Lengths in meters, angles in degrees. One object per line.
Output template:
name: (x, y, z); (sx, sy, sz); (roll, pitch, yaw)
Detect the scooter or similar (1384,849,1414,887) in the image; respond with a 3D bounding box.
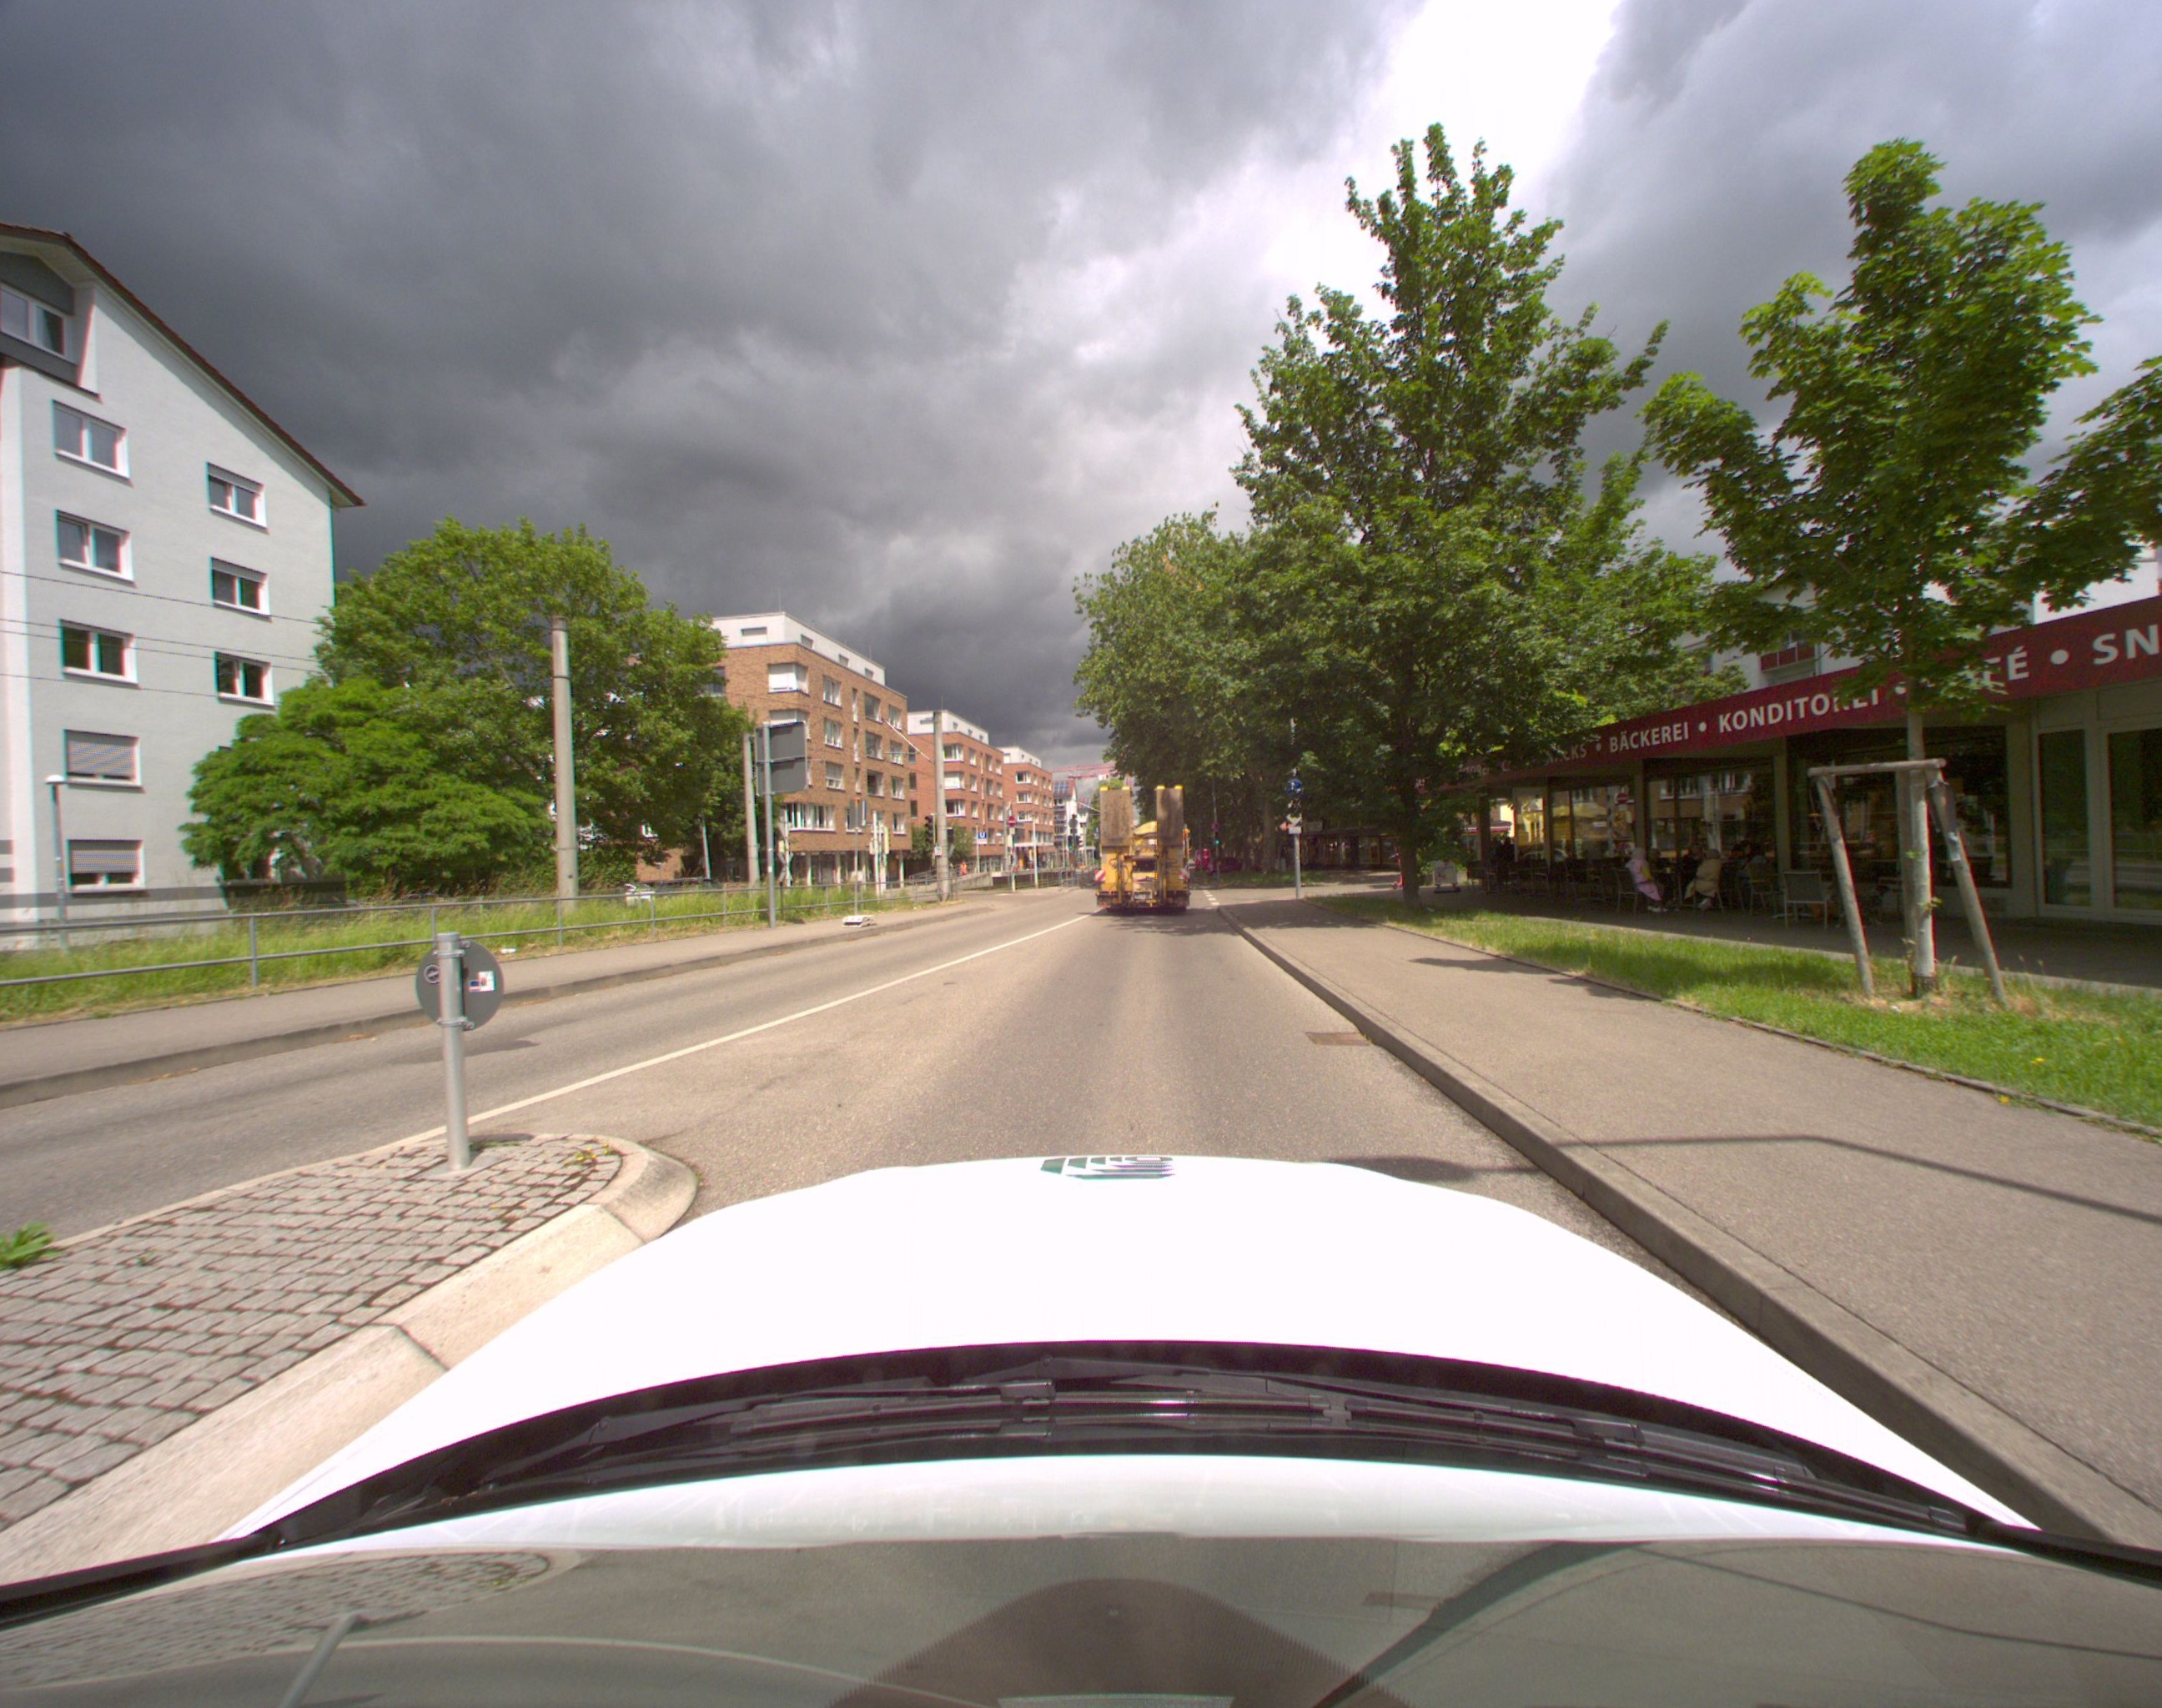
scooter or similar: (11.349, 0.487, 29.053); (0.513, 1.226, 1.743); (-2, 1, 37)

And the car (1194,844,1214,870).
car: (14.274, 0.326, 94.309); (1.981, 2.827, 5.130); (2, 1, 11)

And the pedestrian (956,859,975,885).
pedestrian: (-9.247, 1.398, 65.016); (1.129, 2.013, 1.002); (-3, -1, 13)

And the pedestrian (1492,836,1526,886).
pedestrian: (13.236, 0.207, 25.198); (0.694, 1.488, 0.557); (-2, -1, 1)

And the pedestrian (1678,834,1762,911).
pedestrian: (11.637, 0.322, 14.847); (0.875, 1.324, 0.822); (-3, 2, -3)

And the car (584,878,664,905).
car: (-24.809, 2.018, 44.279); (3.319, 1.235, 1.624); (-2, 2, 2)

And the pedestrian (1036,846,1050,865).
pedestrian: (-4.031, 0.145, 85.627); (1.129, 2.013, 1.002); (-3, -1, 13)

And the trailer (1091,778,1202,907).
trailer: (2.402, -0.253, 27.245); (2.848, 3.372, 10.861); (-2, -1, 7)

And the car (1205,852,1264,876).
car: (10.722, 0.678, 56.957); (3.963, 1.511, 2.006); (-1, 2, 9)

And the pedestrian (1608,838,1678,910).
pedestrian: (10.847, 0.379, 15.744); (0.873, 1.325, 0.612); (-3, -1, 6)

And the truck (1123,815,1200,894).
truck: (3.705, 0.047, 36.847); (2.972, 3.035, 8.501); (-3, 0, 6)

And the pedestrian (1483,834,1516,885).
pedestrian: (13.260, 0.182, 25.808); (0.694, 1.573, 0.557); (-2, -1, 1)

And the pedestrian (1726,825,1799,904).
pedestrian: (12.483, 0.186, 14.942); (0.714, 1.380, 0.700); (-3, -1, 4)

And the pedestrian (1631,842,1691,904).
pedestrian: (11.717, 0.383, 16.475); (0.713, 1.201, 0.701); (-3, -1, 11)

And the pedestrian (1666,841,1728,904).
pedestrian: (12.293, 0.365, 16.269); (0.713, 1.201, 0.701); (-3, -1, 11)
